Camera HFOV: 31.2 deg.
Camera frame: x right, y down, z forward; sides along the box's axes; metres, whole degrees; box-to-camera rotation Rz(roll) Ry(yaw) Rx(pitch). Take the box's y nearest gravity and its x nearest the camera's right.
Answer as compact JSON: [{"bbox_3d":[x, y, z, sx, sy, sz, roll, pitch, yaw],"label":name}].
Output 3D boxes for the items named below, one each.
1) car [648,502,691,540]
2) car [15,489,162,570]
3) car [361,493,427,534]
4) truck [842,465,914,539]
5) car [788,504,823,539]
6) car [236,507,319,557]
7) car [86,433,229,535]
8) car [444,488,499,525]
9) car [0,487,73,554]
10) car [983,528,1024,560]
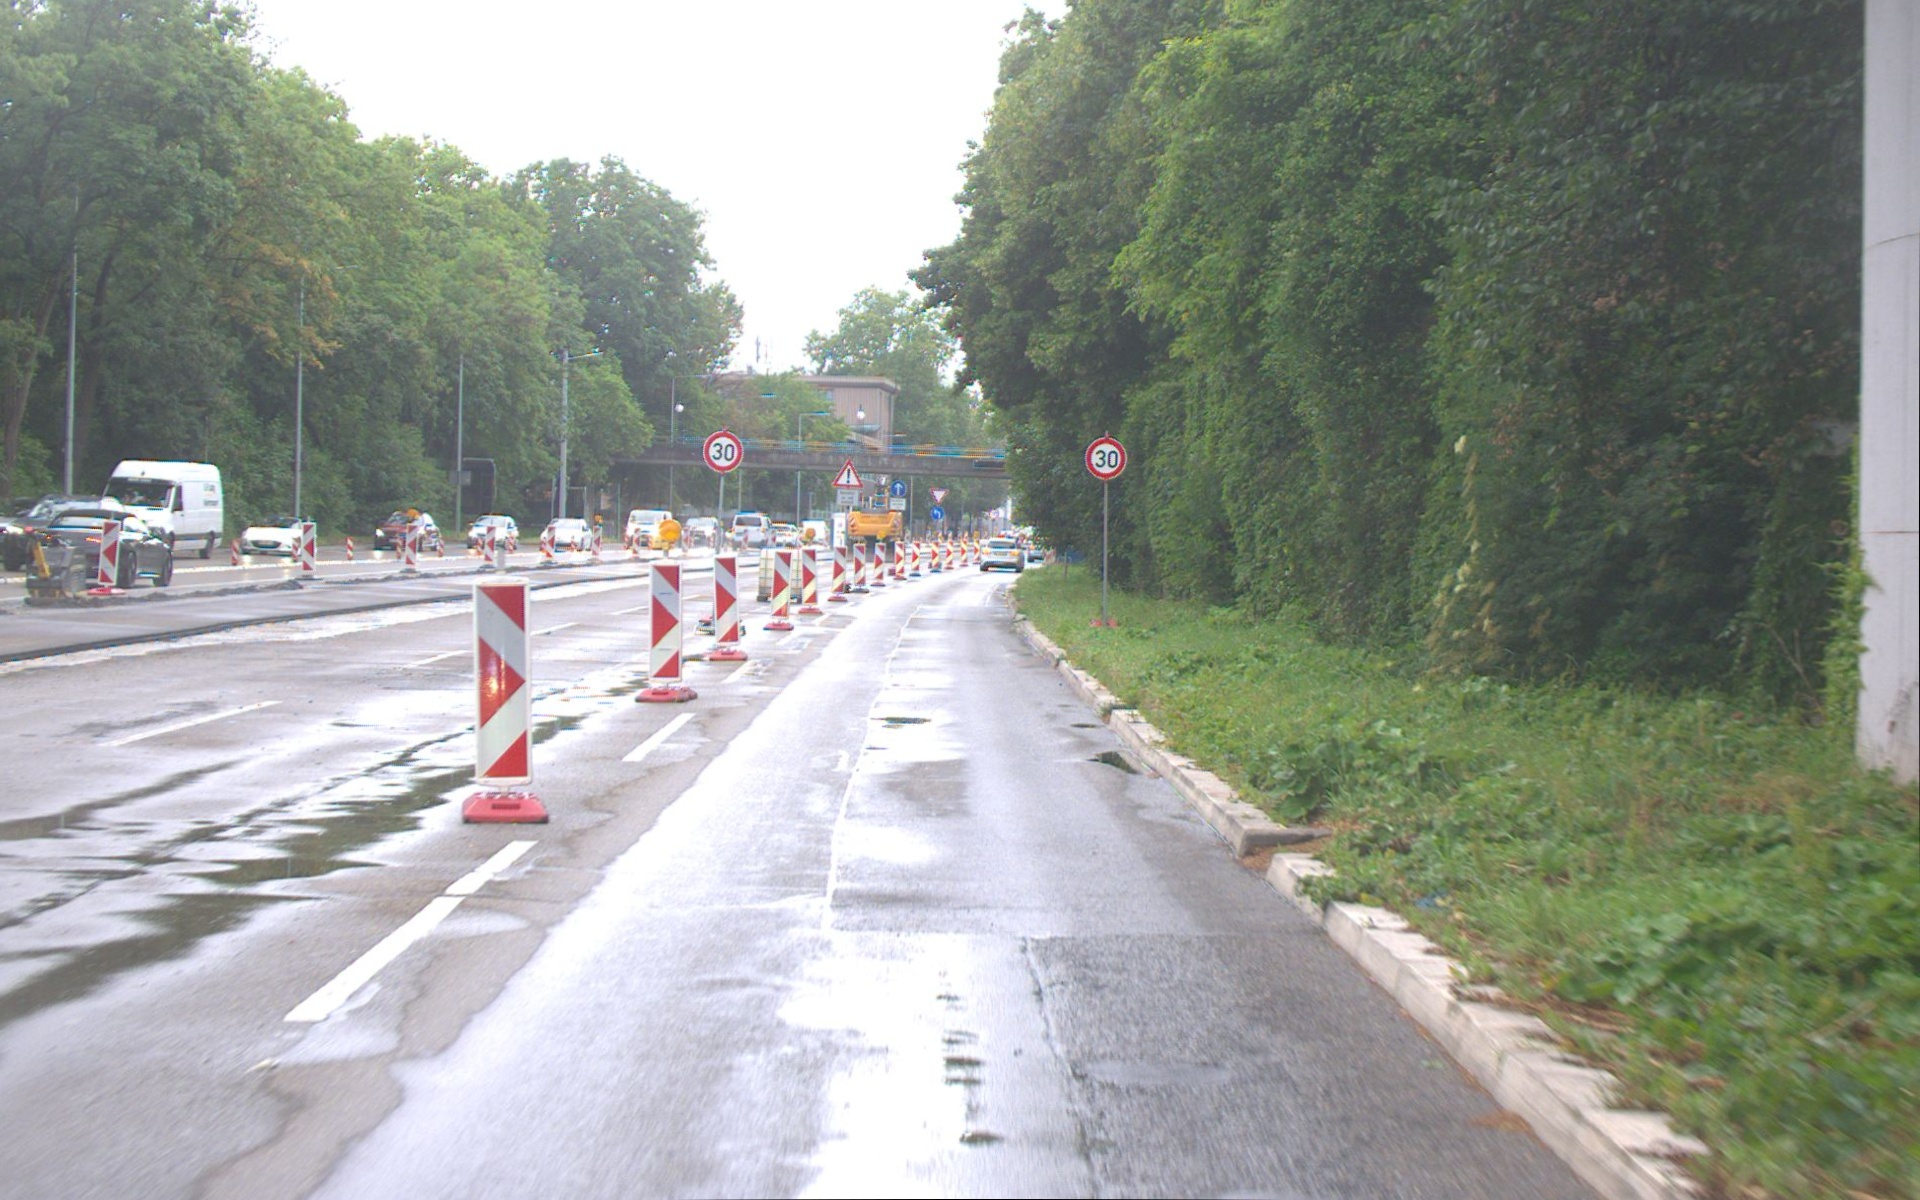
[{"bbox_3d":[-14.081,-3.853,166.783,1.670,1.802,4.320,1,2,1],"label":"car"},{"bbox_3d":[-15.905,-1.303,62.897,1.607,1.399,4.041,1,2,1],"label":"car"},{"bbox_3d":[-21.229,-3.248,129.022,1.670,1.480,4.320,1,2,1],"label":"car"},{"bbox_3d":[-4.020,-4.889,170.976,3.259,3.485,13.872,1,2,0],"label":"truck"},{"bbox_3d":[-8.666,-4.402,193.141,1.670,1.802,4.321,1,3,1],"label":"car"},{"bbox_3d":[-21.189,-2.121,106.874,1.670,1.480,4.320,1,2,1],"label":"car"},{"bbox_3d":[-21.256,-3.066,91.355,2.099,2.571,6.854,1,2,1],"label":"car"},{"bbox_3d":[-20.634,-3.968,145.351,1.670,1.480,4.050,1,2,1],"label":"car"},{"bbox_3d":[-21.998,-1.874,79.743,1.670,1.480,4.320,1,2,1],"label":"car"},{"bbox_3d":[1.887,-2.459,149.584,1.697,1.331,3.491,-1,1,0],"label":"car"}]
